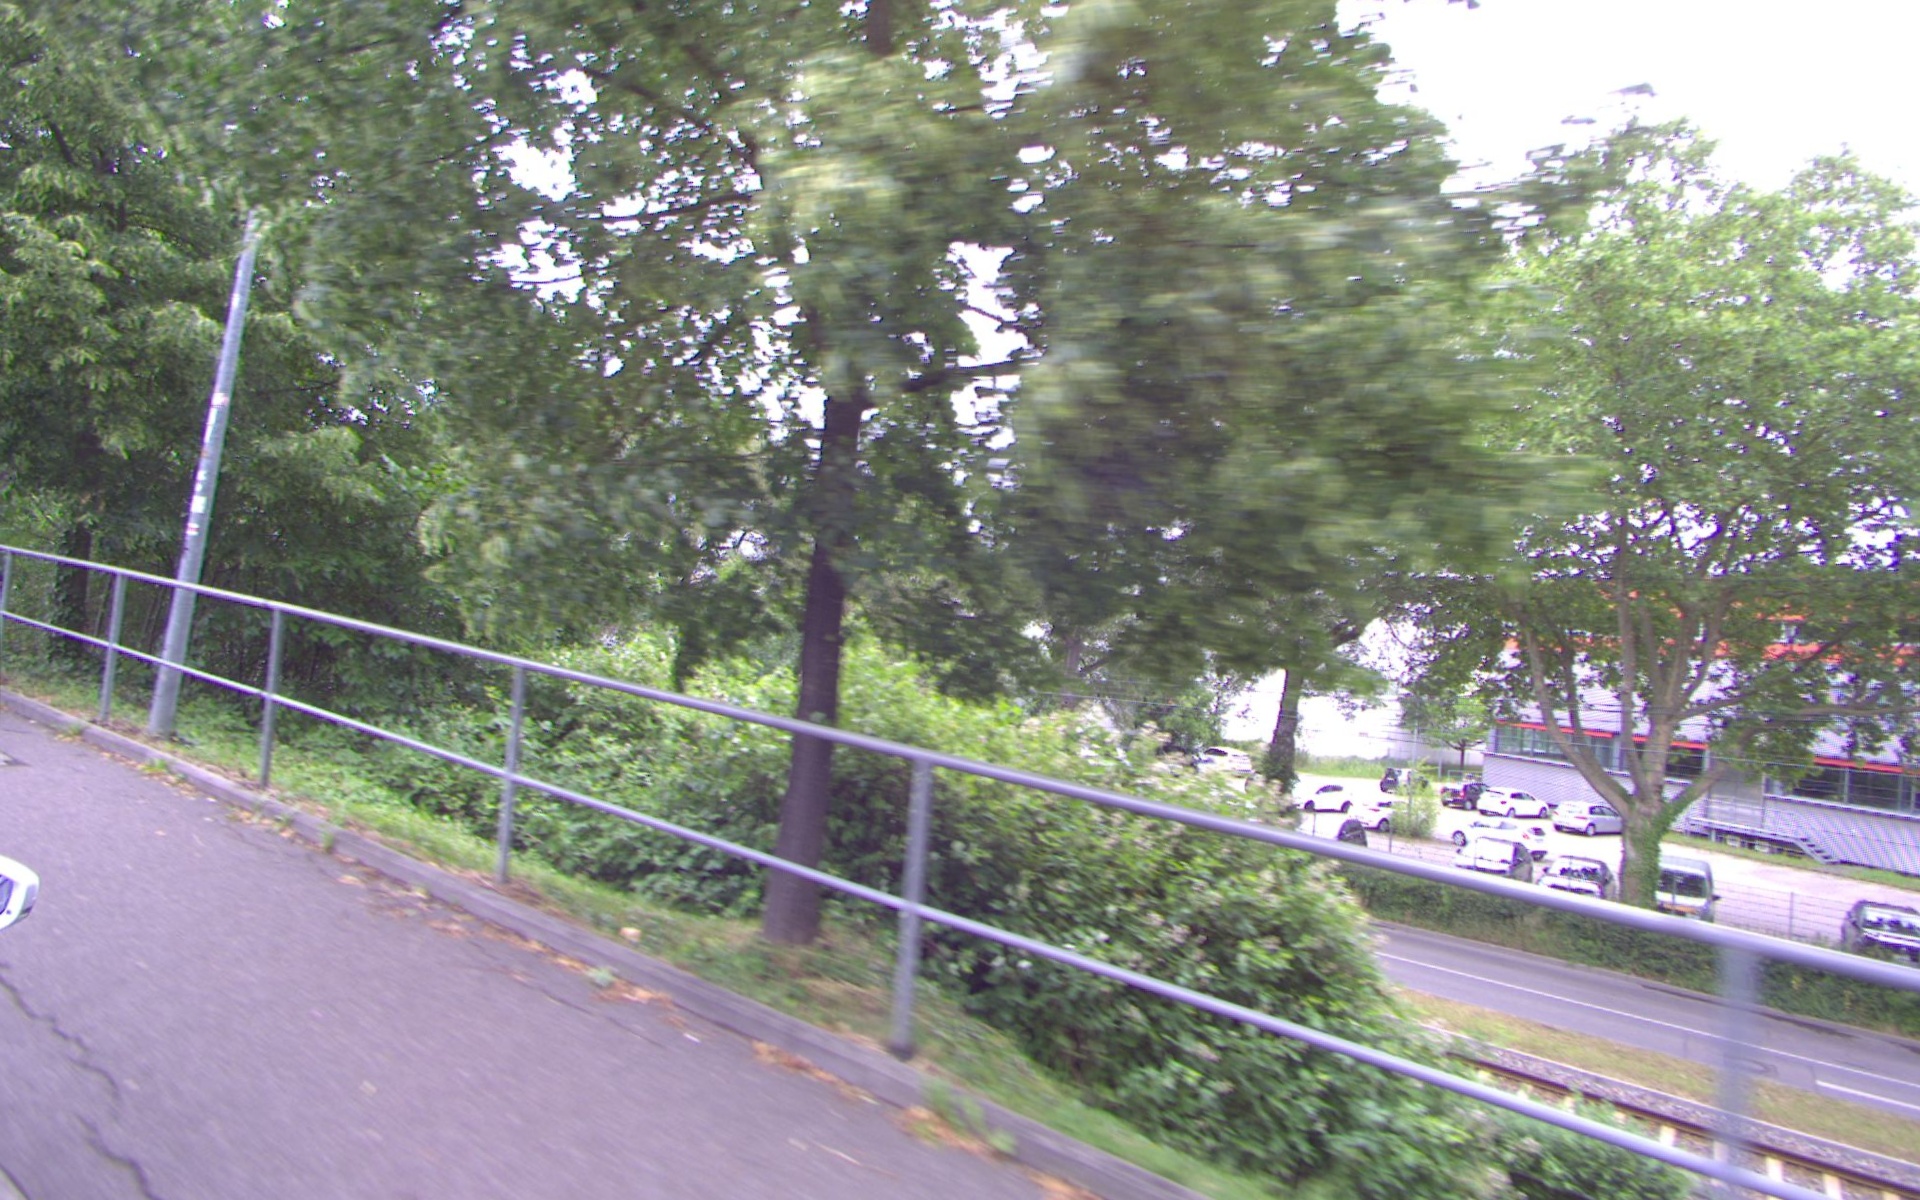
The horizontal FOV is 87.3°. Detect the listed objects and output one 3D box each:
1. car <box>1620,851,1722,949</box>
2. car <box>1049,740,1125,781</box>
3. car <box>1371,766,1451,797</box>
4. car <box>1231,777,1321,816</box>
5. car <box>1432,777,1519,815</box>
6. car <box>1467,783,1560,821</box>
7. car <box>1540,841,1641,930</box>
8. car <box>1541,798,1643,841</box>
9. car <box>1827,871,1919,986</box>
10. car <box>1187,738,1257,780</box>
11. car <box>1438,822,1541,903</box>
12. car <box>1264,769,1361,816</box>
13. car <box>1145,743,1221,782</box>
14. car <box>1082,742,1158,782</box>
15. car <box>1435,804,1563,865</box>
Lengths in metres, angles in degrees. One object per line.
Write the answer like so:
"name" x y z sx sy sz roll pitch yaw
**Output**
"car" 20.923 8.675 29.524 1.972 1.812 4.565 6 -2 40
"car" 7.216 9.153 57.590 1.979 1.485 4.310 8 -2 -30
"car" 26.970 10.811 60.148 4.283 1.487 1.989 4 0 -24
"car" 16.524 10.284 52.536 4.297 1.485 1.985 8 -2 -30
"car" 28.389 10.787 55.398 4.292 1.485 1.987 8 -2 -27
"car" 29.141 10.617 52.978 4.281 1.487 1.990 3 0 -23
"car" 19.910 8.883 31.669 1.972 1.812 4.565 6 -2 40
"car" 30.704 10.615 48.881 4.277 1.487 1.992 2 0 -21
"car" 24.420 8.580 26.297 1.968 2.037 3.993 6 -2 33
"car" 16.187 9.828 62.309 1.975 1.832 3.979 8 -2 -24
"car" 17.687 8.655 33.501 1.972 1.812 4.565 6 -2 40
"car" 17.566 9.593 50.163 4.291 1.737 1.988 8 -2 -26
"car" 13.368 9.744 60.565 1.979 1.485 4.310 8 -2 -30
"car" 9.219 9.390 58.317 1.979 1.485 4.310 8 -2 -30
"car" 22.467 9.771 42.127 1.976 1.485 4.318 8 -2 -25
